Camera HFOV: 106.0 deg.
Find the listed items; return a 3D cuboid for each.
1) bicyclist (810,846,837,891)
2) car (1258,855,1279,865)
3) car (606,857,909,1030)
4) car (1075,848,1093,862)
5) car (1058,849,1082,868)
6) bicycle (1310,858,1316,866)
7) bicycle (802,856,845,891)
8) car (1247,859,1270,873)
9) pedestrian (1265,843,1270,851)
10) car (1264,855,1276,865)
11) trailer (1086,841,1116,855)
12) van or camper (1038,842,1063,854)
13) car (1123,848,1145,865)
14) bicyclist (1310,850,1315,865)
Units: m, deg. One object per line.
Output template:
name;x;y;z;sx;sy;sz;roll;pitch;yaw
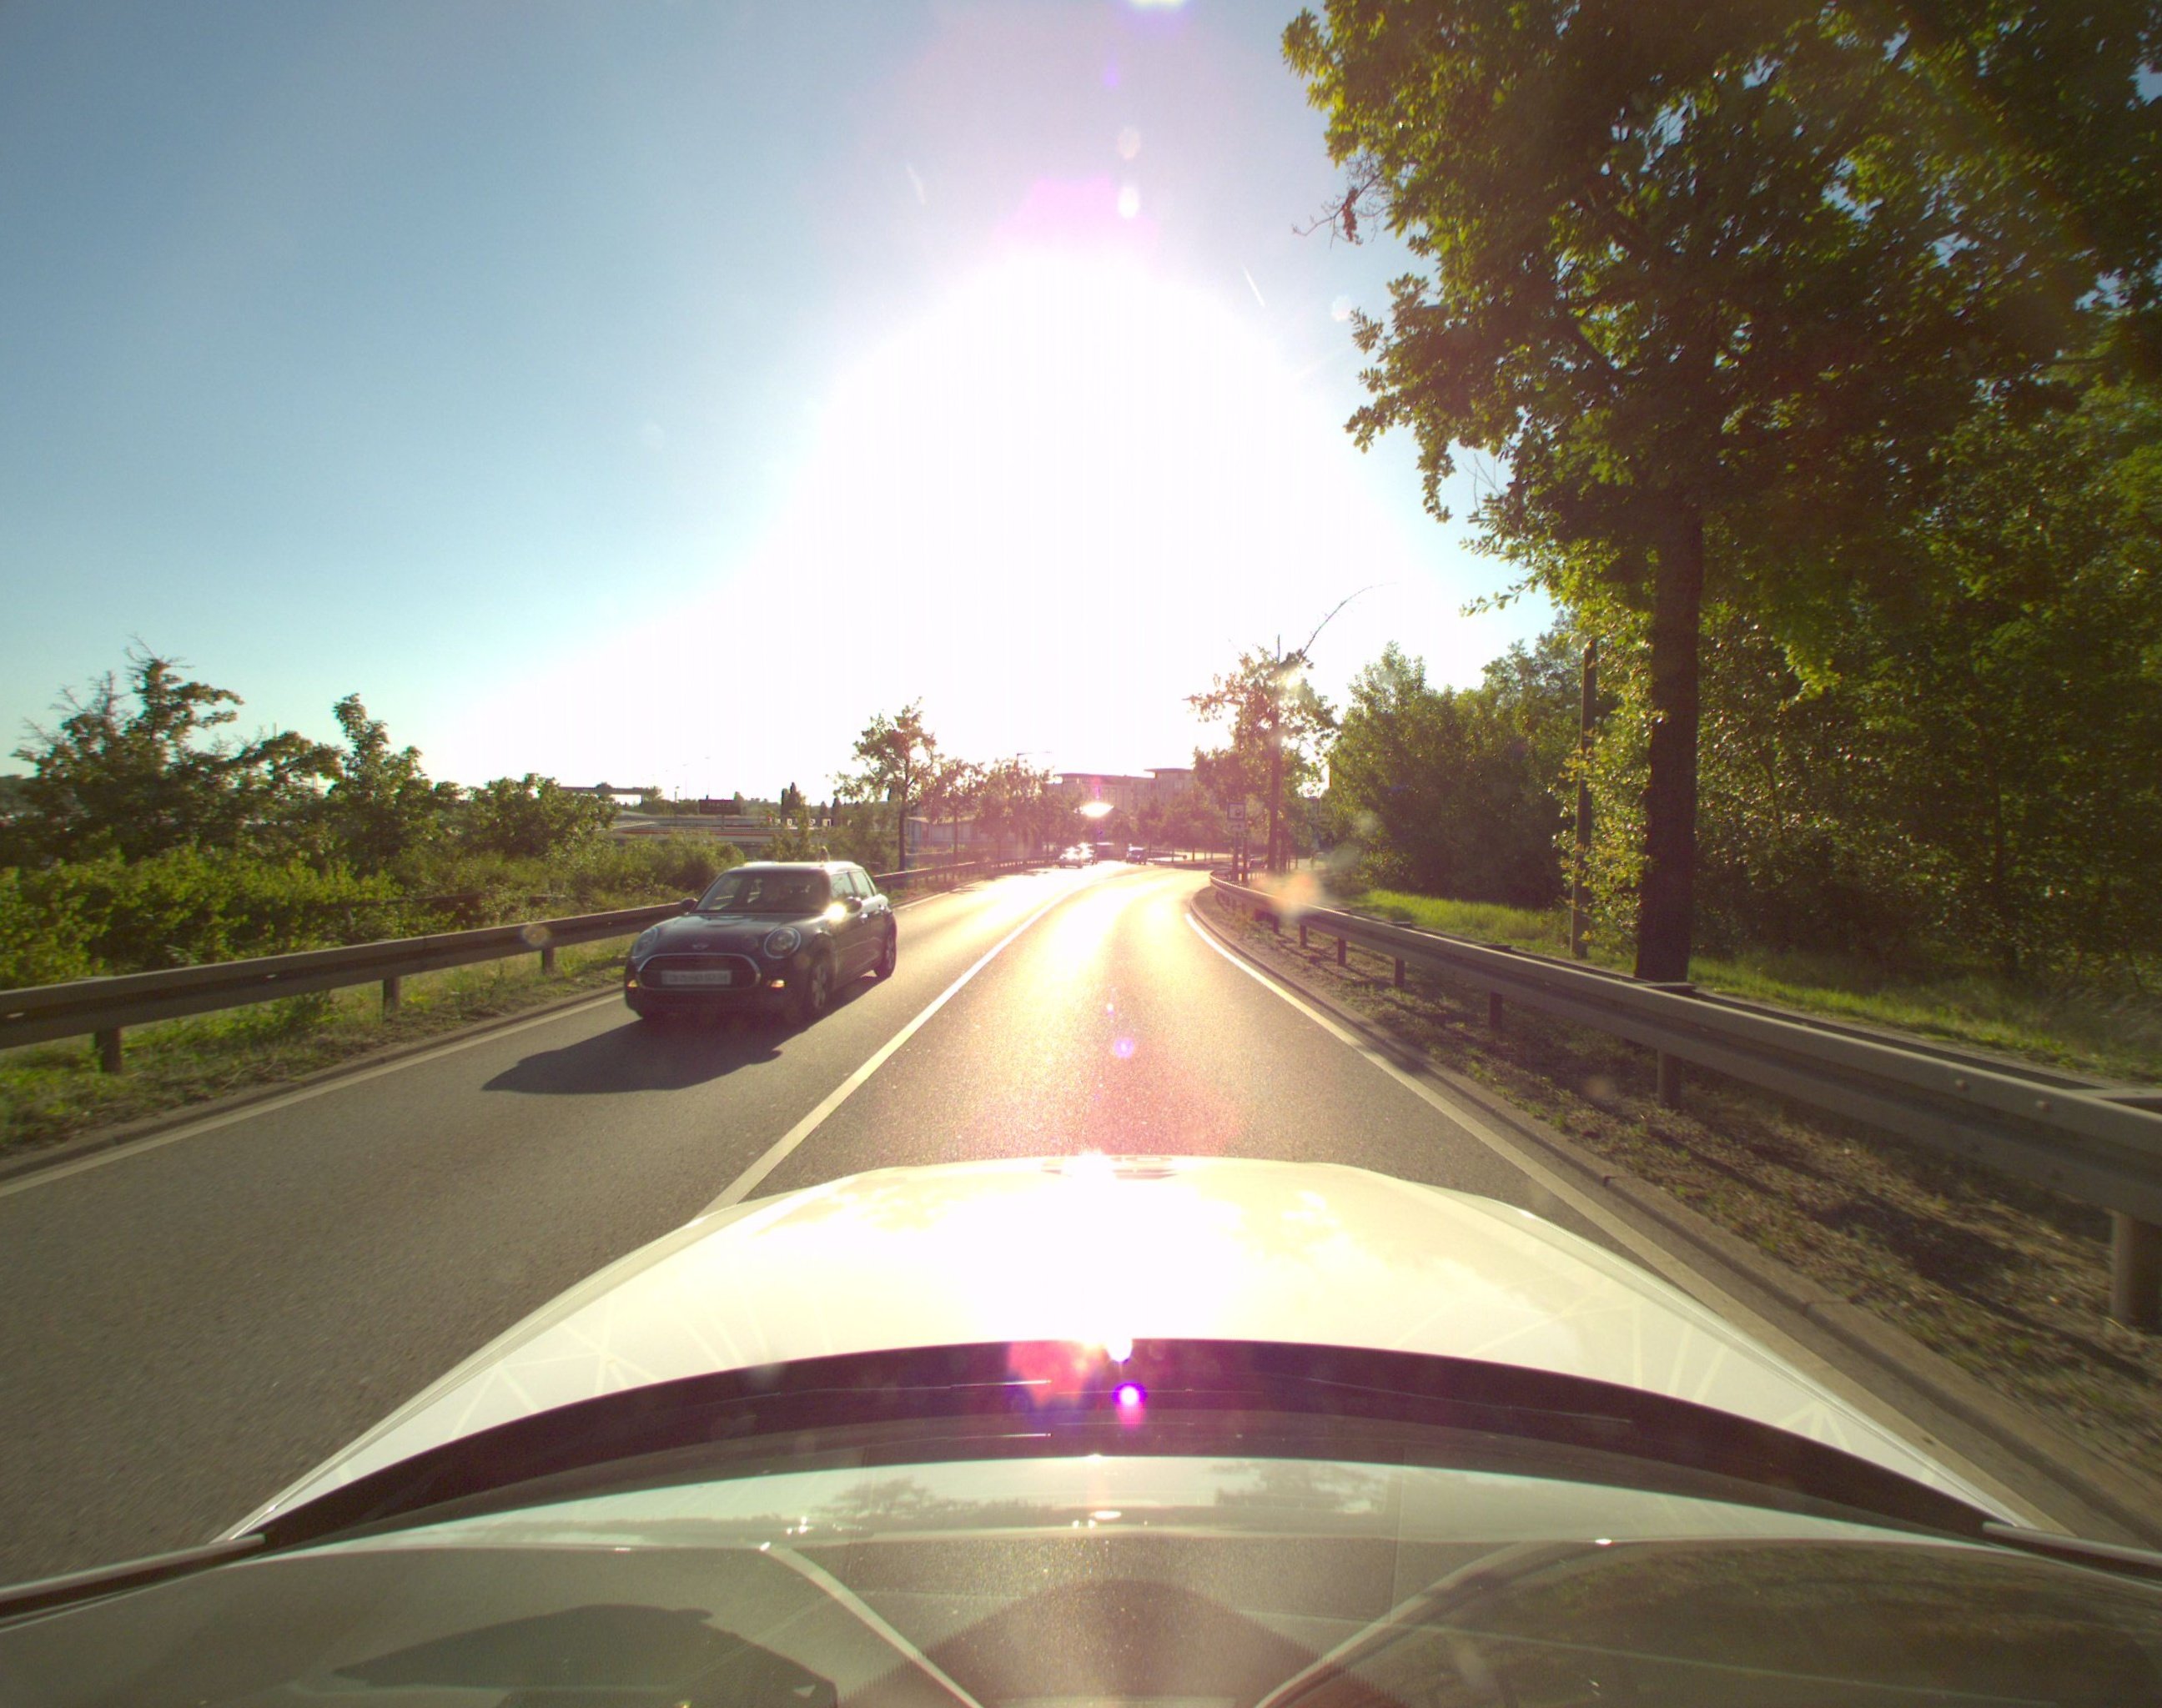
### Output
bicyclist;-8.500;0.460;26.915;0.597;1.459;0.829;-1;0;3
car;29.068;0.893;126.339;1.567;1.408;3.856;4;2;39
car;-3.201;0.784;8.952;1.677;1.423;3.860;-1;0;1
car;0.366;0.094;84.955;1.766;1.465;4.384;2;0;1
car;-0.919;0.356;70.668;1.821;1.589;4.650;-1;0;1
bicycle;30.186;1.046;105.965;0.574;0.963;2.899;-1;0;17
bicycle;-8.483;0.620;26.917;0.580;1.077;2.315;-1;0;3
car;19.943;1.352;91.503;1.977;1.508;4.020;-1;0;19
pedestrian;41.349;-1.580;180.485;0.669;1.903;0.688;0;2;-44
car;28.360;0.895;122.129;1.535;1.423;3.433;-1;0;18
trailer;3.016;-0.911;121.462;2.399;1.969;6.640;2;1;21
van or camper;-4.894;-0.976;130.933;2.009;1.925;4.182;2;0;-37
car;6.546;0.321;99.452;1.865;2.013;5.278;-1;0;13
bicyclist;30.119;0.432;105.935;0.677;1.907;0.837;-1;0;16
